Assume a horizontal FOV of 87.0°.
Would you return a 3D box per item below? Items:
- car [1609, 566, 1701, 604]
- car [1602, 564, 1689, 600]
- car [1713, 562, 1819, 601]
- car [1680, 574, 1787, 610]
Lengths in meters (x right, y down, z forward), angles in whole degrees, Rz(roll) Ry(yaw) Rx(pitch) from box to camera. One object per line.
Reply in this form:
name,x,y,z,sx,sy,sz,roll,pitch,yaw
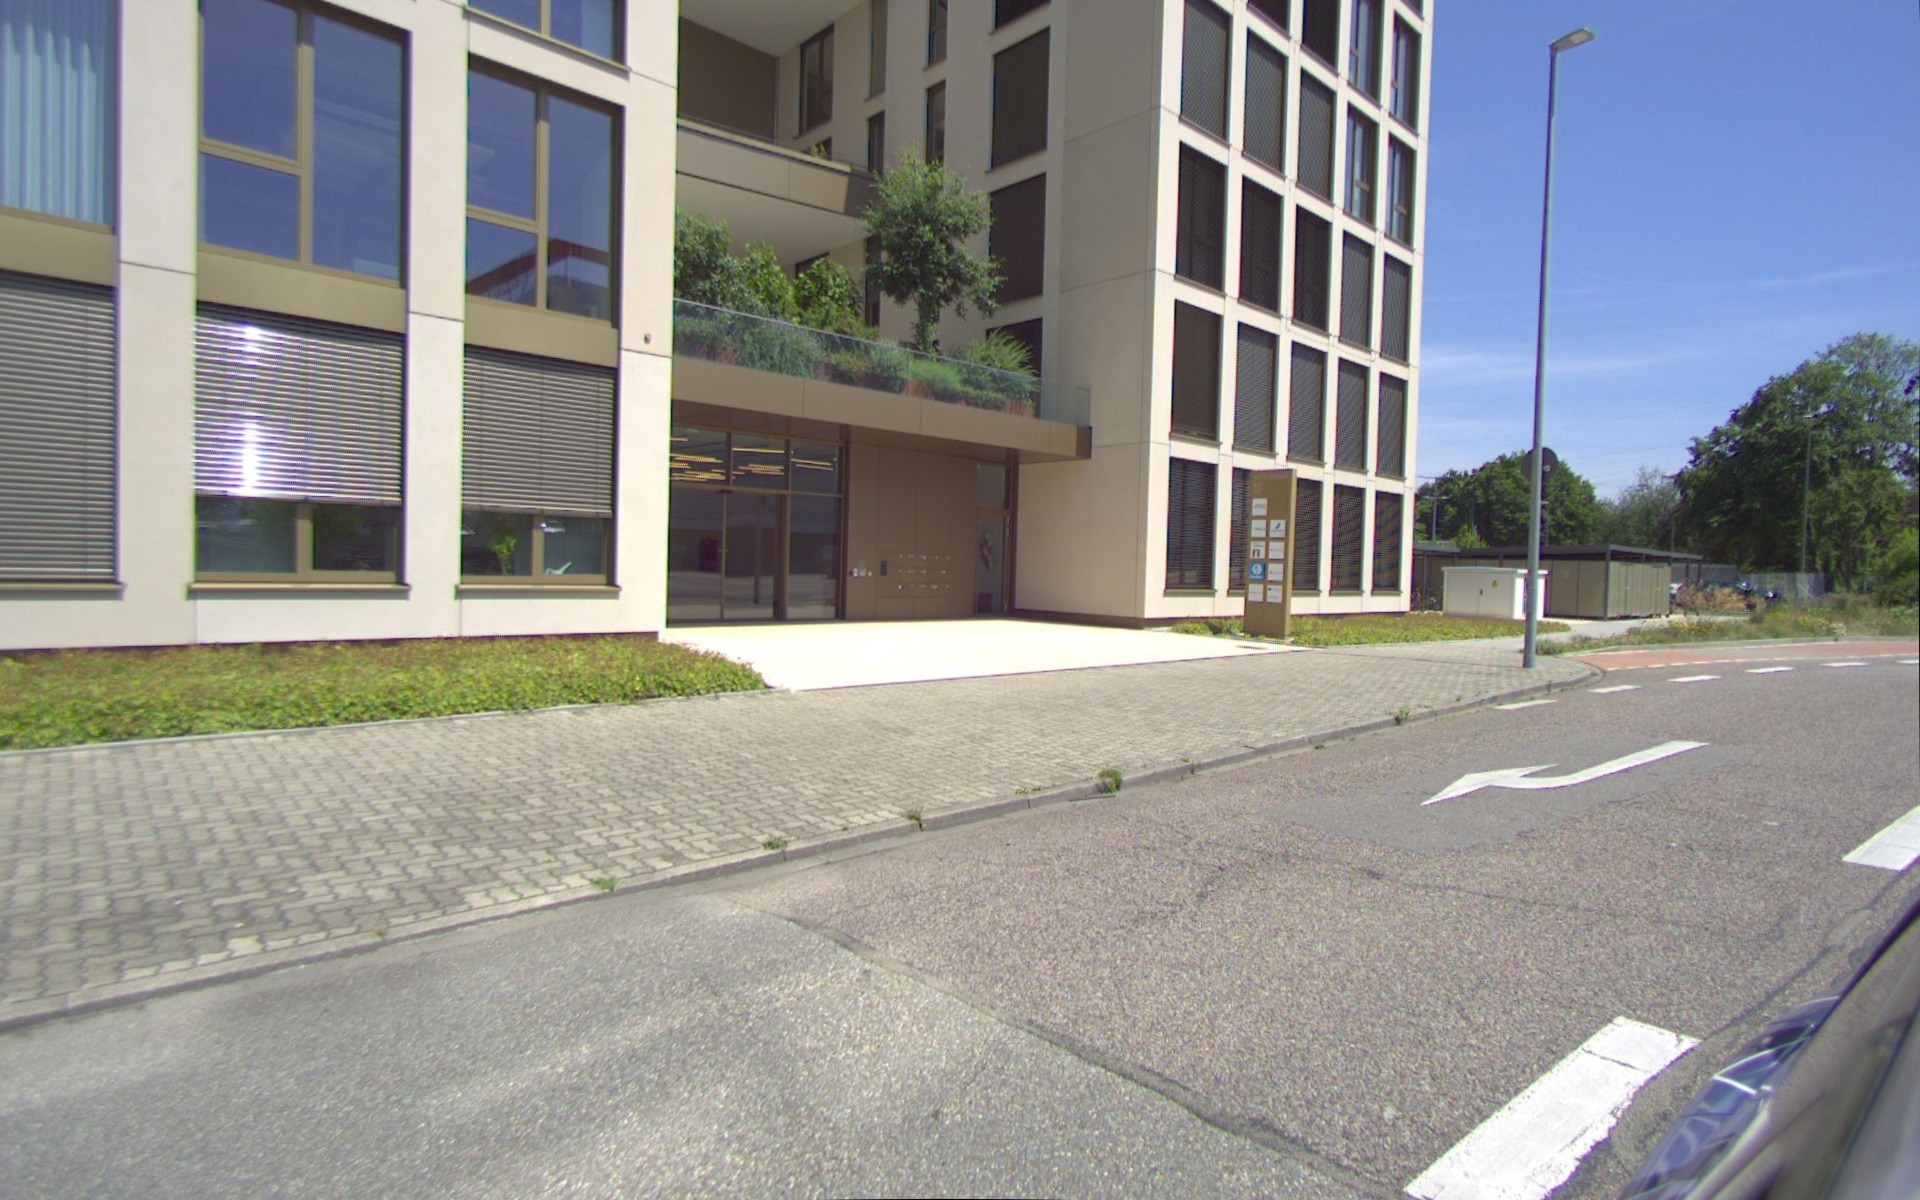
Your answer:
car,40.267,-0.895,58.736,3.954,2.038,1.986,2,2,22
car,41.392,-1.101,61.229,3.954,2.038,1.986,2,2,22
car,43.044,-1.005,54.160,3.954,1.977,1.986,2,2,22
car,39.590,-0.436,51.894,3.956,1.682,1.824,2,2,24
